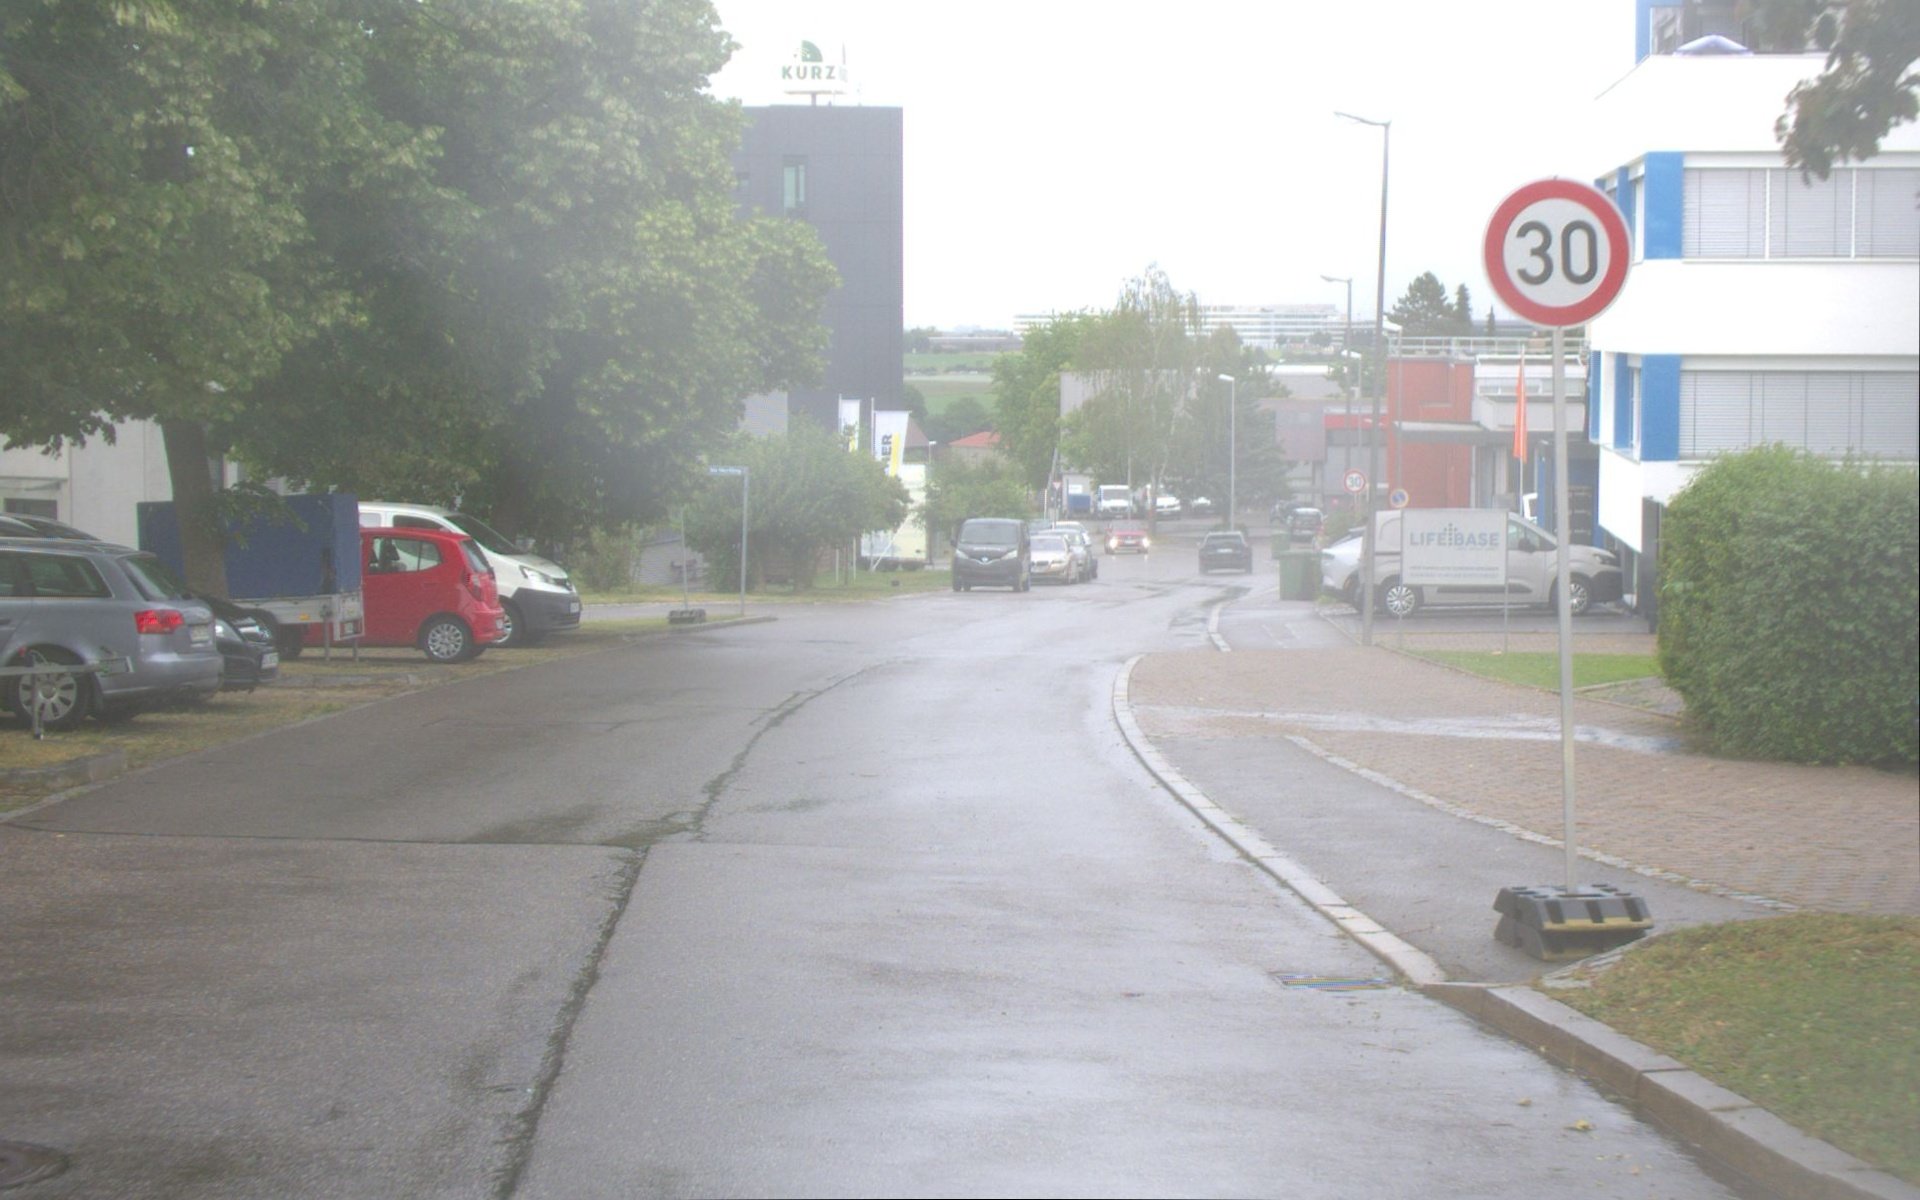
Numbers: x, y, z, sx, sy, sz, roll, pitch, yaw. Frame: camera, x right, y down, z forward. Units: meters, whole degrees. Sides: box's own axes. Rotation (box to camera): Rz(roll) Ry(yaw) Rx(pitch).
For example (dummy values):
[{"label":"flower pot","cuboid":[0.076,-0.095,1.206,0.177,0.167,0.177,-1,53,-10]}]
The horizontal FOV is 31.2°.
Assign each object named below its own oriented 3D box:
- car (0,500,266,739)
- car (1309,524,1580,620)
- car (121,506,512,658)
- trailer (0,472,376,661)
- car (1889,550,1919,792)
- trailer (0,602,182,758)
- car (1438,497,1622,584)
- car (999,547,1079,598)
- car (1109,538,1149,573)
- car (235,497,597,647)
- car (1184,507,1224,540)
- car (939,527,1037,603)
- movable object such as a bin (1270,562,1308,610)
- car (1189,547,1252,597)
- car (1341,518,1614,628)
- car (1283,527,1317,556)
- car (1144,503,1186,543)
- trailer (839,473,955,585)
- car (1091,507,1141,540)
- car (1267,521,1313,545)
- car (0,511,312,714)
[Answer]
[{"label":"car","cuboid":[-7.684,0.081,26.622,4.074,1.716,2.025,2,1,5]},{"label":"car","cuboid":[8.441,-0.499,60.239,4.598,1.533,2.079,-1,1,6]},{"label":"car","cuboid":[-7.397,-0.211,39.783,4.195,1.716,1.755,0,0,0]},{"label":"trailer","cuboid":[-8.569,-0.356,36.989,4.213,1.977,1.774,0,0,3]},{"label":"car","cuboid":[8.402,0.465,22.249,4.313,1.579,1.858,0,0,3]},{"label":"trailer","cuboid":[-7.633,0.506,23.950,3.941,0.958,2.000,1,1,1]},{"label":"car","cuboid":[17.591,-1.831,106.326,5.299,2.007,2.221,-7,0,6]},{"label":"car","cuboid":[2.358,-0.830,101.396,1.956,1.456,5.246,0,1,6]},{"label":"car","cuboid":[7.778,-2.053,157.975,1.747,1.503,3.935,-2,0,3]},{"label":"car","cuboid":[-7.063,-0.365,44.827,4.301,1.899,1.861,0,0,9]},{"label":"car","cuboid":[15.195,-4.741,214.061,2.145,2.007,3.940,0,0,-1]},{"label":"car","cuboid":[0.739,-0.892,86.843,1.916,1.825,4.846,1,1,7]},{"label":"movable object such as a bin","cuboid":[7.117,-0.306,74.290,0.772,1.026,0.808,1,1,7]},{"label":"car","cuboid":[8.800,-0.922,116.500,1.956,1.670,4.472,0,0,2]},{"label":"car","cuboid":[8.549,-0.457,57.116,4.341,1.767,2.089,0,1,4]},{"label":"car","cuboid":[17.557,-3.004,177.620,1.697,1.470,3.999,0,0,5]},{"label":"car","cuboid":[12.694,-4.773,213.309,2.192,2.451,4.000,0,0,-2]},{"label":"trailer","cuboid":[-2.407,-2.679,130.264,4.184,4.188,2.001,0,1,44]},{"label":"car","cuboid":[9.658,-4.743,213.189,2.264,2.007,4.001,0,0,-10]},{"label":"car","cuboid":[19.176,-3.909,199.749,2.548,1.347,1.242,0,1,1]},{"label":"car","cuboid":[-8.028,0.047,29.179,4.618,1.584,1.806,2,1,4]}]
